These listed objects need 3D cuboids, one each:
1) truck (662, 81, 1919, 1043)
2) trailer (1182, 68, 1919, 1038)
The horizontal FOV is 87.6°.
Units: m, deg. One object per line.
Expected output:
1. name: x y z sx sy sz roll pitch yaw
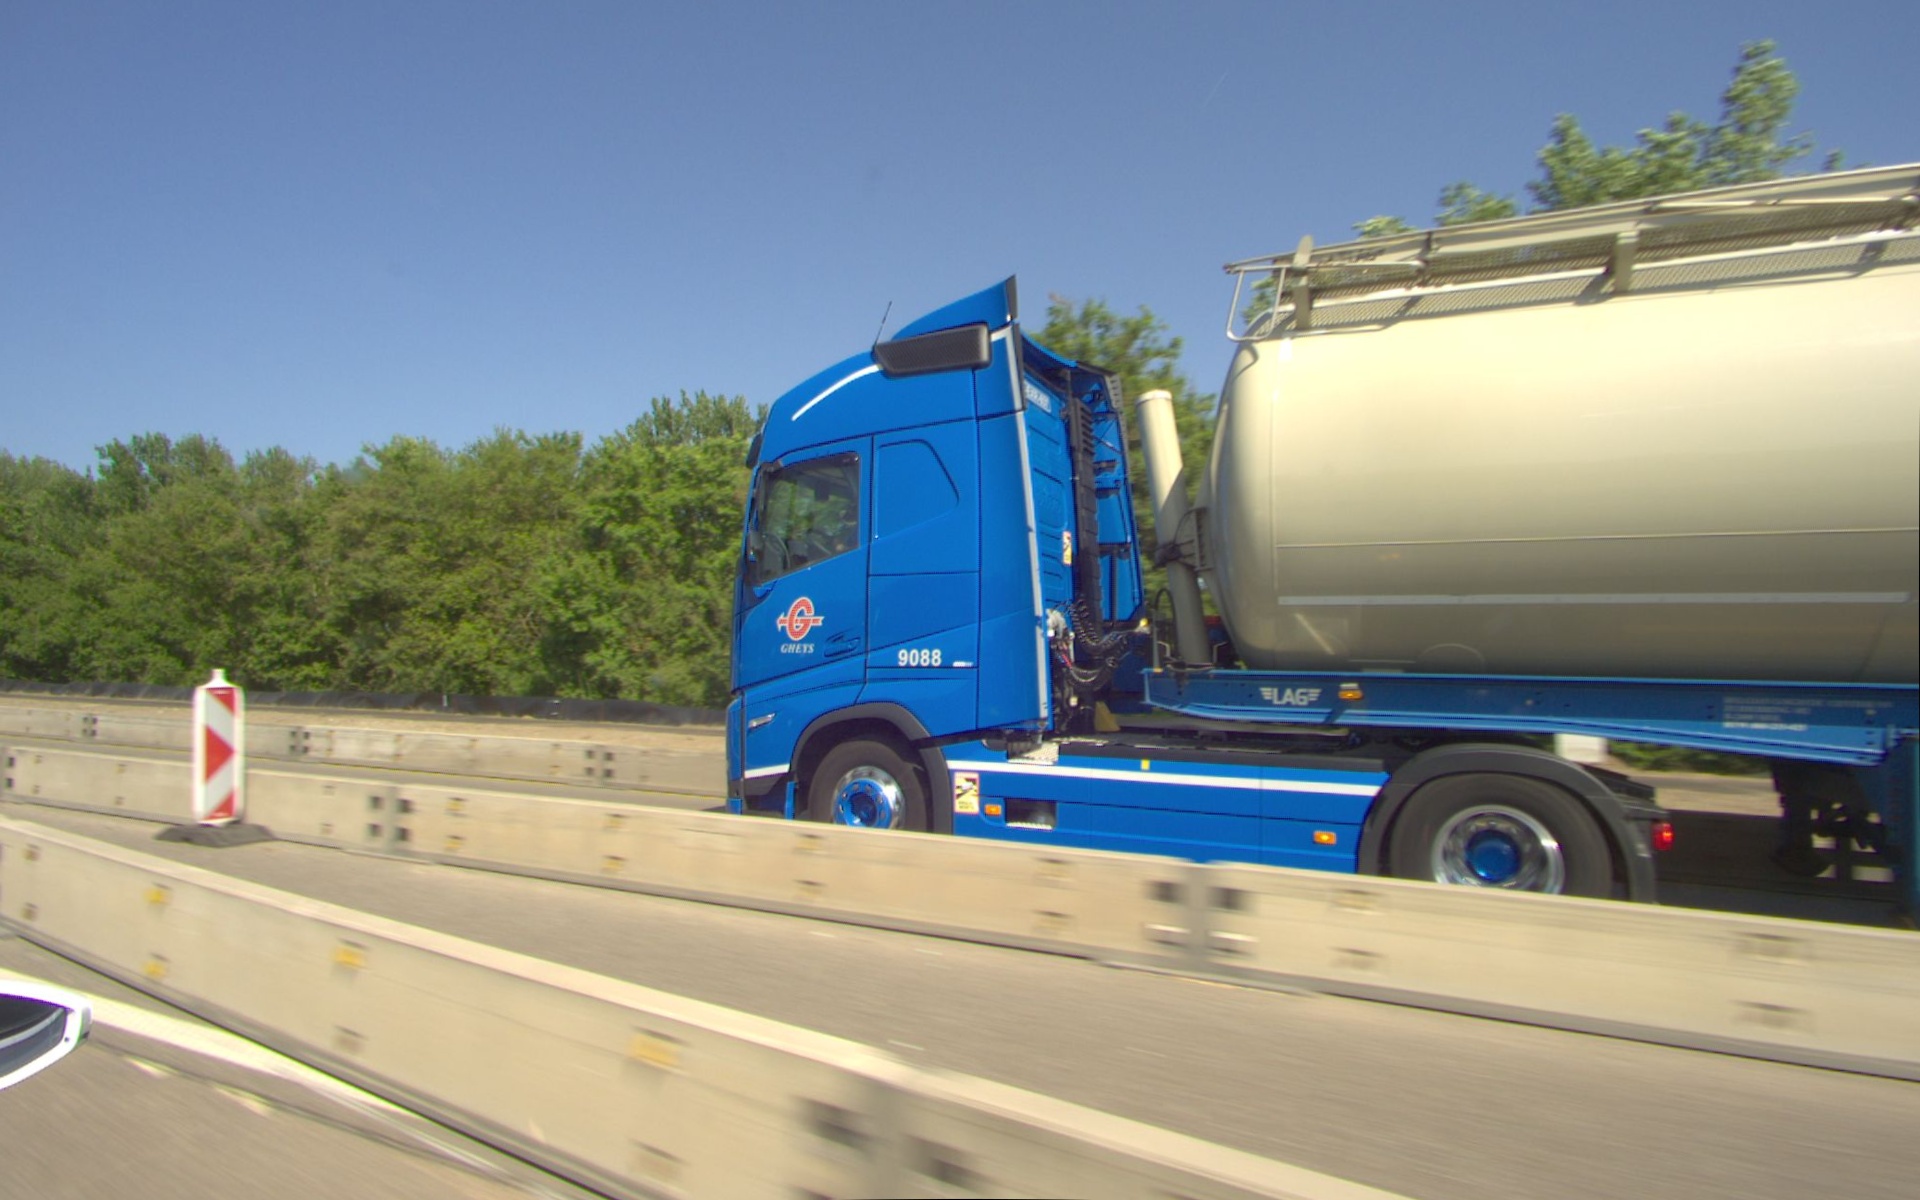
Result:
1. truck: 1.685 -0.092 6.959 7.181 4.154 2.696 0 -2 25
2. trailer: 7.437 -0.190 4.257 12.408 4.189 2.696 -1 -2 25
